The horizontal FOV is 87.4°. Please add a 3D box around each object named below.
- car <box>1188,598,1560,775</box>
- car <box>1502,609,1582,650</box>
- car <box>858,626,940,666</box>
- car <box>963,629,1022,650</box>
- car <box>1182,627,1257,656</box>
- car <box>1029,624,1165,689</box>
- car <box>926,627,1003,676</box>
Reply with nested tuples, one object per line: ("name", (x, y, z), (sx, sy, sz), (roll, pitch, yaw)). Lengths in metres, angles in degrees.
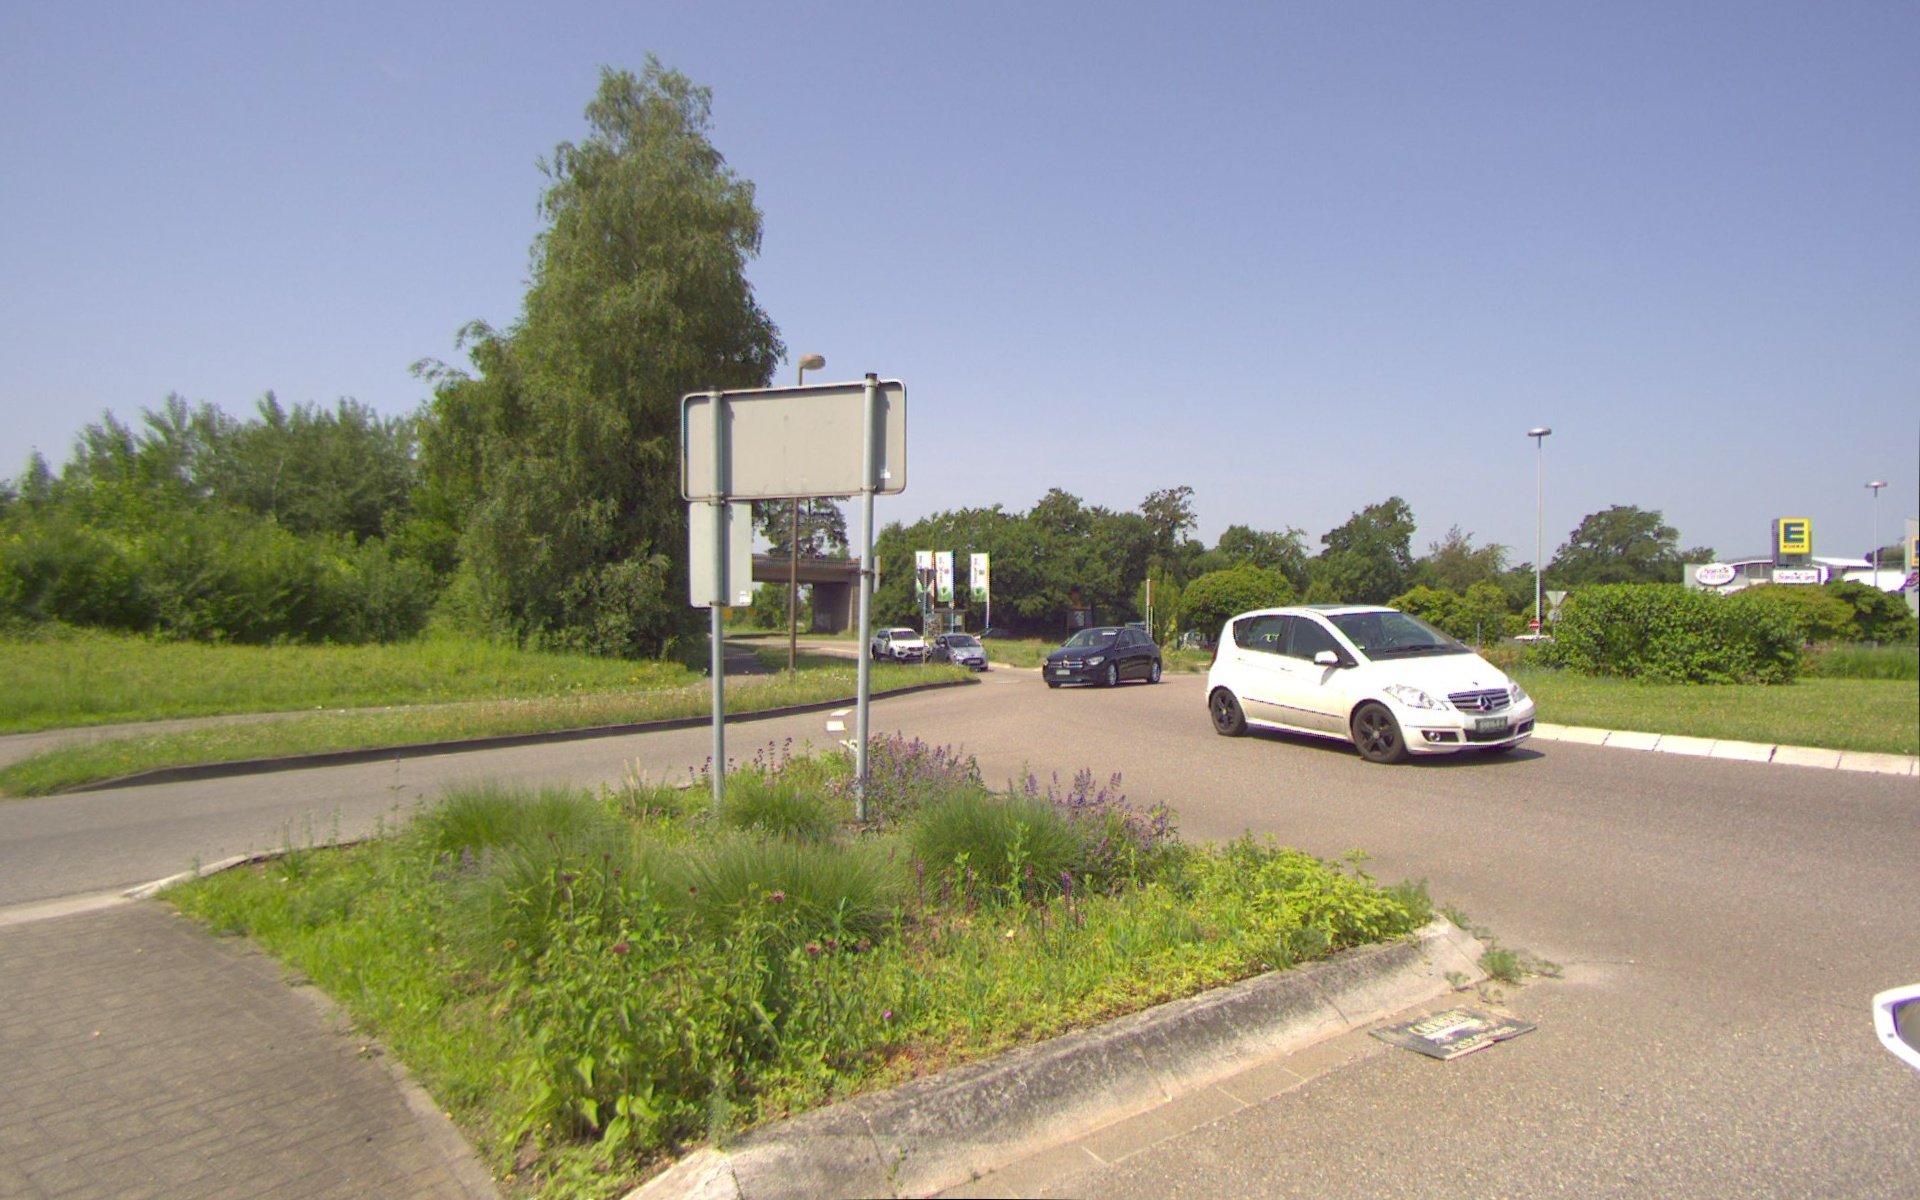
("car", (4.422, 0.796, 11.401), (1.760, 1.625, 3.874), (0, 0, -21))
("car", (31.678, 1.615, 54.631), (3.943, 2.040, 1.684), (3, 0, -23))
("car", (-3.060, 2.224, 49.047), (2.169, 1.674, 5.086), (2, 0, -27))
("car", (2.728, 3.294, 83.861), (4.583, 1.674, 2.013), (2, 0, -30))
("car", (15.534, 2.494, 60.072), (4.359, 1.582, 1.859), (3, -1, -33))
("car", (3.646, 1.449, 26.154), (1.729, 1.550, 4.199), (-3, -3, 35))
("car", (0.122, 2.035, 40.647), (2.093, 1.637, 4.186), (0, 1, -15))
